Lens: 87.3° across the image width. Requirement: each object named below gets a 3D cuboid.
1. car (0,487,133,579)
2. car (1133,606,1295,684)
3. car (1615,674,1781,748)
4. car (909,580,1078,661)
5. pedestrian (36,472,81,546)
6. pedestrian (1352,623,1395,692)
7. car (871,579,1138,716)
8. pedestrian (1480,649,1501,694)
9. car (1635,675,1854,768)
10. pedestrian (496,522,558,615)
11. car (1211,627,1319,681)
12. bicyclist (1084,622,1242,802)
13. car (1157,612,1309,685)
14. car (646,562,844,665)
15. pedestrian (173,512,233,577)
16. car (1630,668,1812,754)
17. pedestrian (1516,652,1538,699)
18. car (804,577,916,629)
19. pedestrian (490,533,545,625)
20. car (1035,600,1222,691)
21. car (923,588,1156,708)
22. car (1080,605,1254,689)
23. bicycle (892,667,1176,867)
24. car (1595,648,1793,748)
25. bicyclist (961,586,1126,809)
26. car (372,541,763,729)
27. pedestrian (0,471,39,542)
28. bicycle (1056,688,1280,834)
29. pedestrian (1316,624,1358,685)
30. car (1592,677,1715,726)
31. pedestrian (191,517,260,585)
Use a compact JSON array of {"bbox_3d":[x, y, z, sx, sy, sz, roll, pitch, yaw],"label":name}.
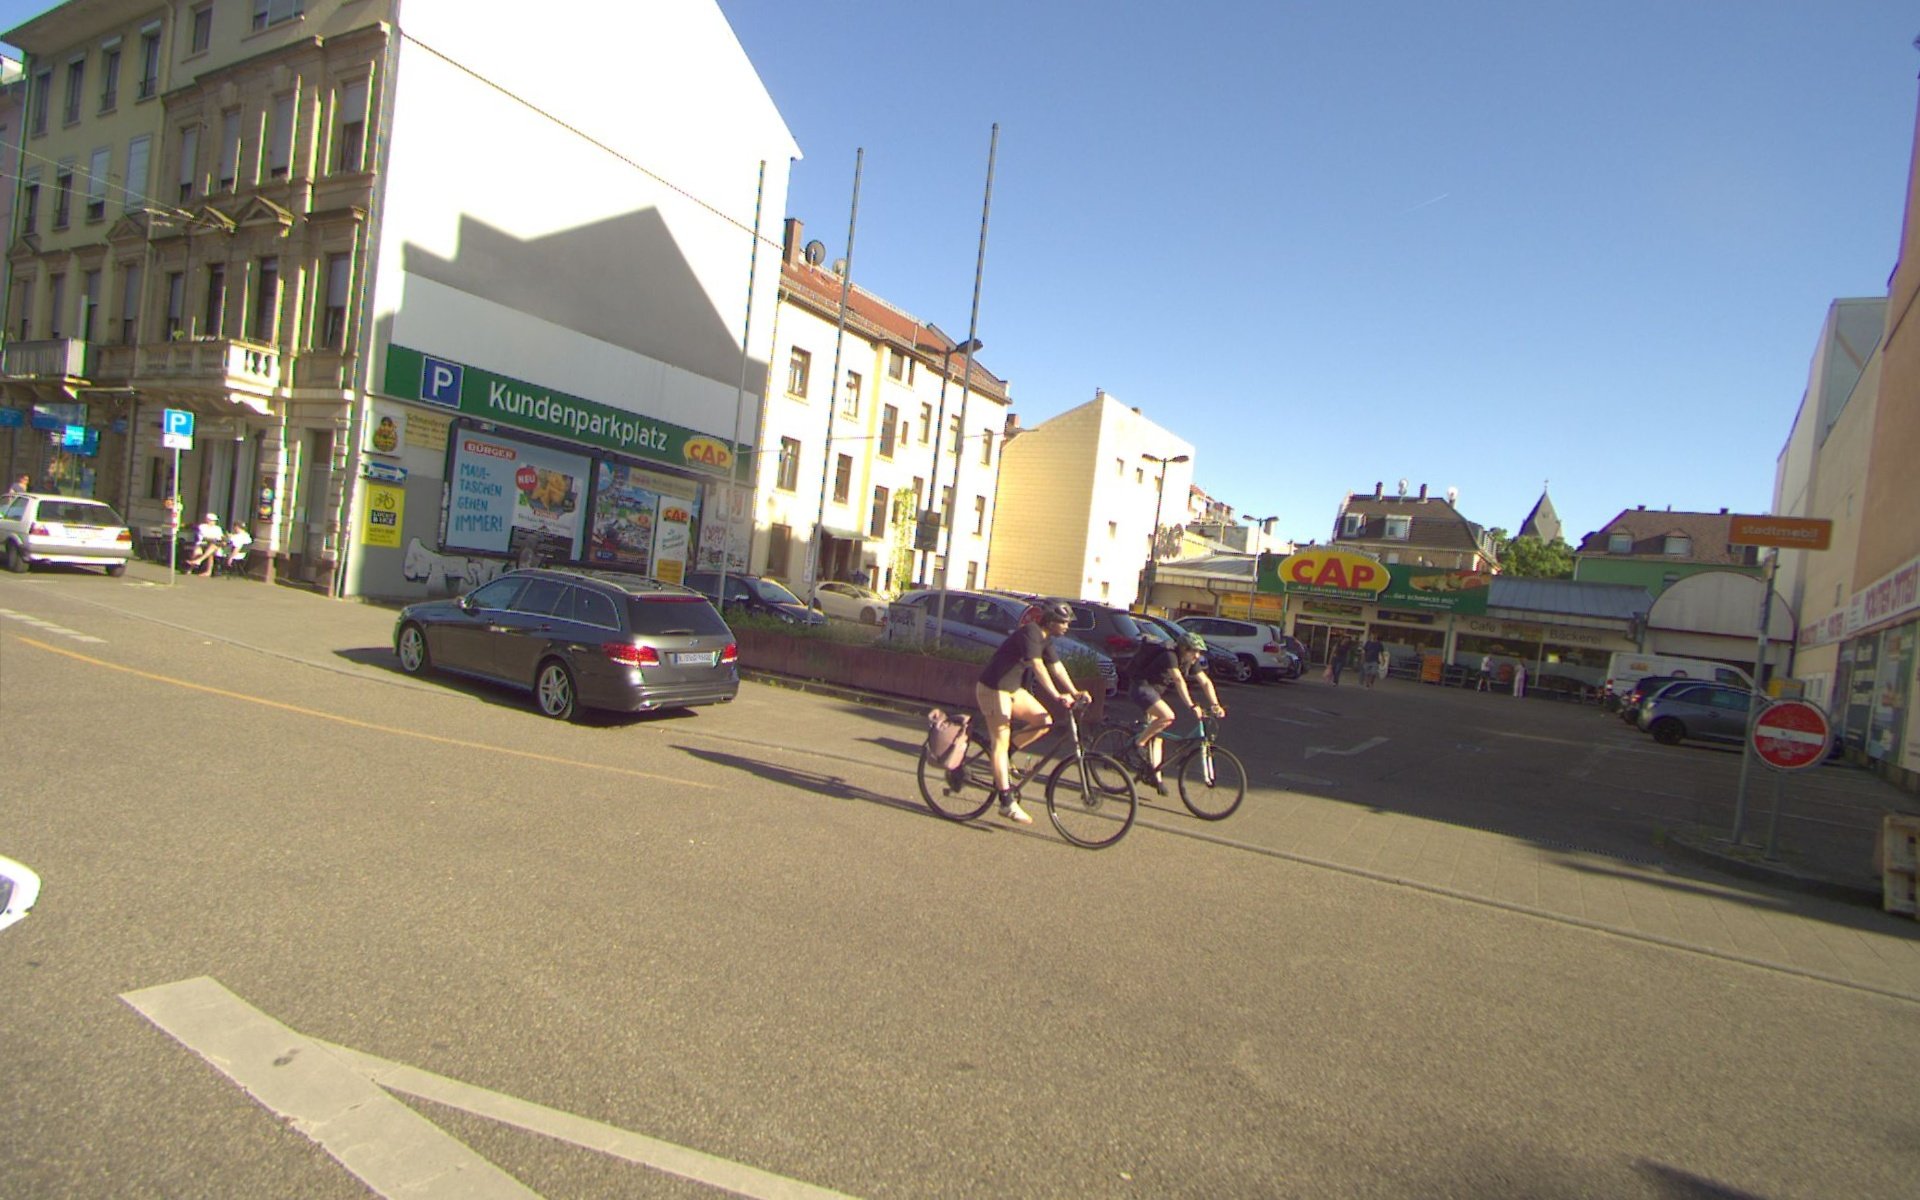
[{"bbox_3d":[-17.577,-1.329,19.203,3.937,1.435,1.562,7,4,31],"label":"car"},{"bbox_3d":[6.948,1.221,27.583,3.871,1.601,1.658,7,1,30],"label":"car"},{"bbox_3d":[20.921,3.103,28.626,3.590,1.553,1.675,6,0,37],"label":"car"},{"bbox_3d":[0.911,0.559,28.243,4.309,1.687,1.756,7,1,31],"label":"car"},{"bbox_3d":[-23.544,-2.365,26.276,0.522,1.830,0.673,8,3,31],"label":"pedestrian"},{"bbox_3d":[12.910,1.790,31.416,0.908,2.039,0.817,7,1,31],"label":"pedestrian"},{"bbox_3d":[0.721,0.750,16.719,3.930,1.665,1.748,7,0,28],"label":"car"},{"bbox_3d":[24.704,3.318,46.851,0.636,2.039,0.561,8,2,31],"label":"pedestrian"},{"bbox_3d":[17.345,2.642,22.479,3.586,1.481,1.677,6,0,33],"label":"car"},{"bbox_3d":[-9.232,-0.652,21.458,0.734,1.864,0.762,7,1,13],"label":"pedestrian"},{"bbox_3d":[10.497,1.849,34.645,3.148,1.431,1.544,7,1,30],"label":"car"},{"bbox_3d":[1.905,1.005,9.456,1.162,1.466,0.676,7,5,32],"label":"bicyclist"},{"bbox_3d":[7.918,1.390,29.260,3.871,1.564,1.544,7,1,30],"label":"car"},{"bbox_3d":[-4.092,0.252,19.127,3.335,1.504,1.561,7,0,28],"label":"car"},{"bbox_3d":[-16.037,-1.164,21.317,0.598,1.299,0.797,7,4,29],"label":"pedestrian"},{"bbox_3d":[19.955,2.878,26.529,3.590,1.691,1.675,6,0,37],"label":"car"},{"bbox_3d":[25.951,3.456,46.061,0.636,2.039,0.561,8,2,30],"label":"pedestrian"},{"bbox_3d":[-3.878,0.113,38.996,3.933,1.482,1.756,7,1,31],"label":"car"},{"bbox_3d":[-8.921,-0.413,20.315,0.503,1.777,0.762,7,1,11],"label":"pedestrian"},{"bbox_3d":[3.889,1.021,23.396,3.871,1.564,1.544,7,1,30],"label":"car"},{"bbox_3d":[1.504,0.886,19.300,3.931,1.714,1.748,7,0,29],"label":"car"},{"bbox_3d":[5.198,1.167,25.382,3.871,1.564,1.544,7,1,30],"label":"car"},{"bbox_3d":[0.571,1.201,7.605,1.916,1.116,0.759,7,1,16],"label":"bicycle"},{"bbox_3d":[23.644,3.103,32.559,4.816,2.443,1.702,7,1,42],"label":"car"},{"bbox_3d":[0.650,0.712,7.605,0.933,1.479,0.747,7,-1,16],"label":"bicyclist"},{"bbox_3d":[-4.737,0.296,11.890,4.655,1.507,1.833,7,3,32],"label":"car"},{"bbox_3d":[-24.185,-2.396,25.867,0.382,1.729,0.550,8,1,34],"label":"pedestrian"},{"bbox_3d":[1.932,1.466,9.474,1.886,0.933,0.649,8,5,33],"label":"bicycle"},{"bbox_3d":[11.987,1.744,31.991,0.908,1.818,0.817,7,1,31],"label":"pedestrian"},{"bbox_3d":[28.484,4.128,41.345,3.941,1.371,1.751,7,1,39],"label":"car"},{"bbox_3d":[-15.394,-1.014,21.094,0.644,1.298,0.902,7,2,26],"label":"pedestrian"}]
